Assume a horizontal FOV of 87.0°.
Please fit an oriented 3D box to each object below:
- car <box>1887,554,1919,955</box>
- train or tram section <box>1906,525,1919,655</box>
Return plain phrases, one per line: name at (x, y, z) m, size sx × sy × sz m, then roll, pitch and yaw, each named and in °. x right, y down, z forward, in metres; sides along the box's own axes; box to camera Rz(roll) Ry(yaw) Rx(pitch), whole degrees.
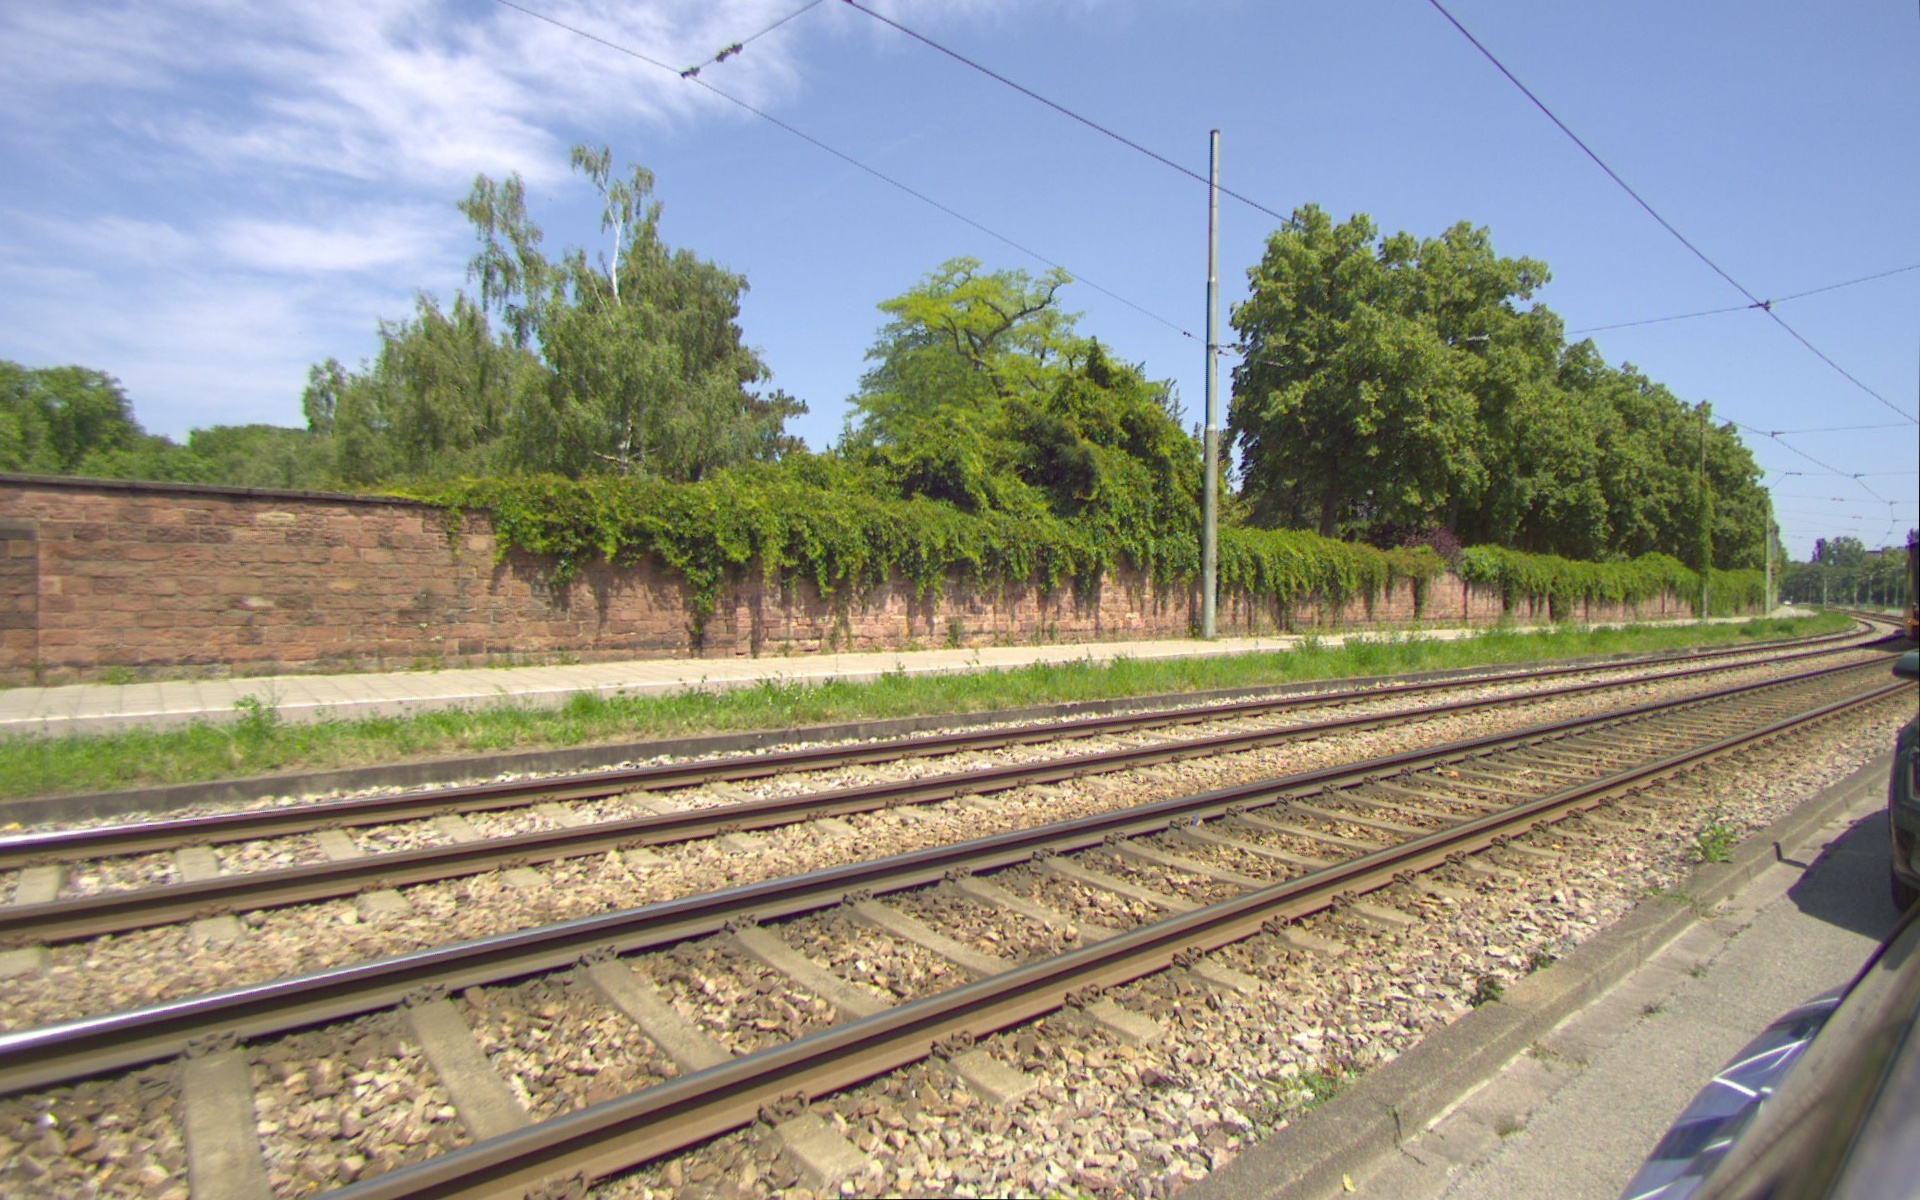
car at (5.992, 0.620, 4.884) m, size 4.349 × 1.603 × 1.757 m, roll 0°, pitch 0°, yaw -41°
train or tram section at (34.531, -0.370, 34.117) m, size 14.020 × 3.855 × 2.809 m, roll -1°, pitch 0°, yaw -43°
